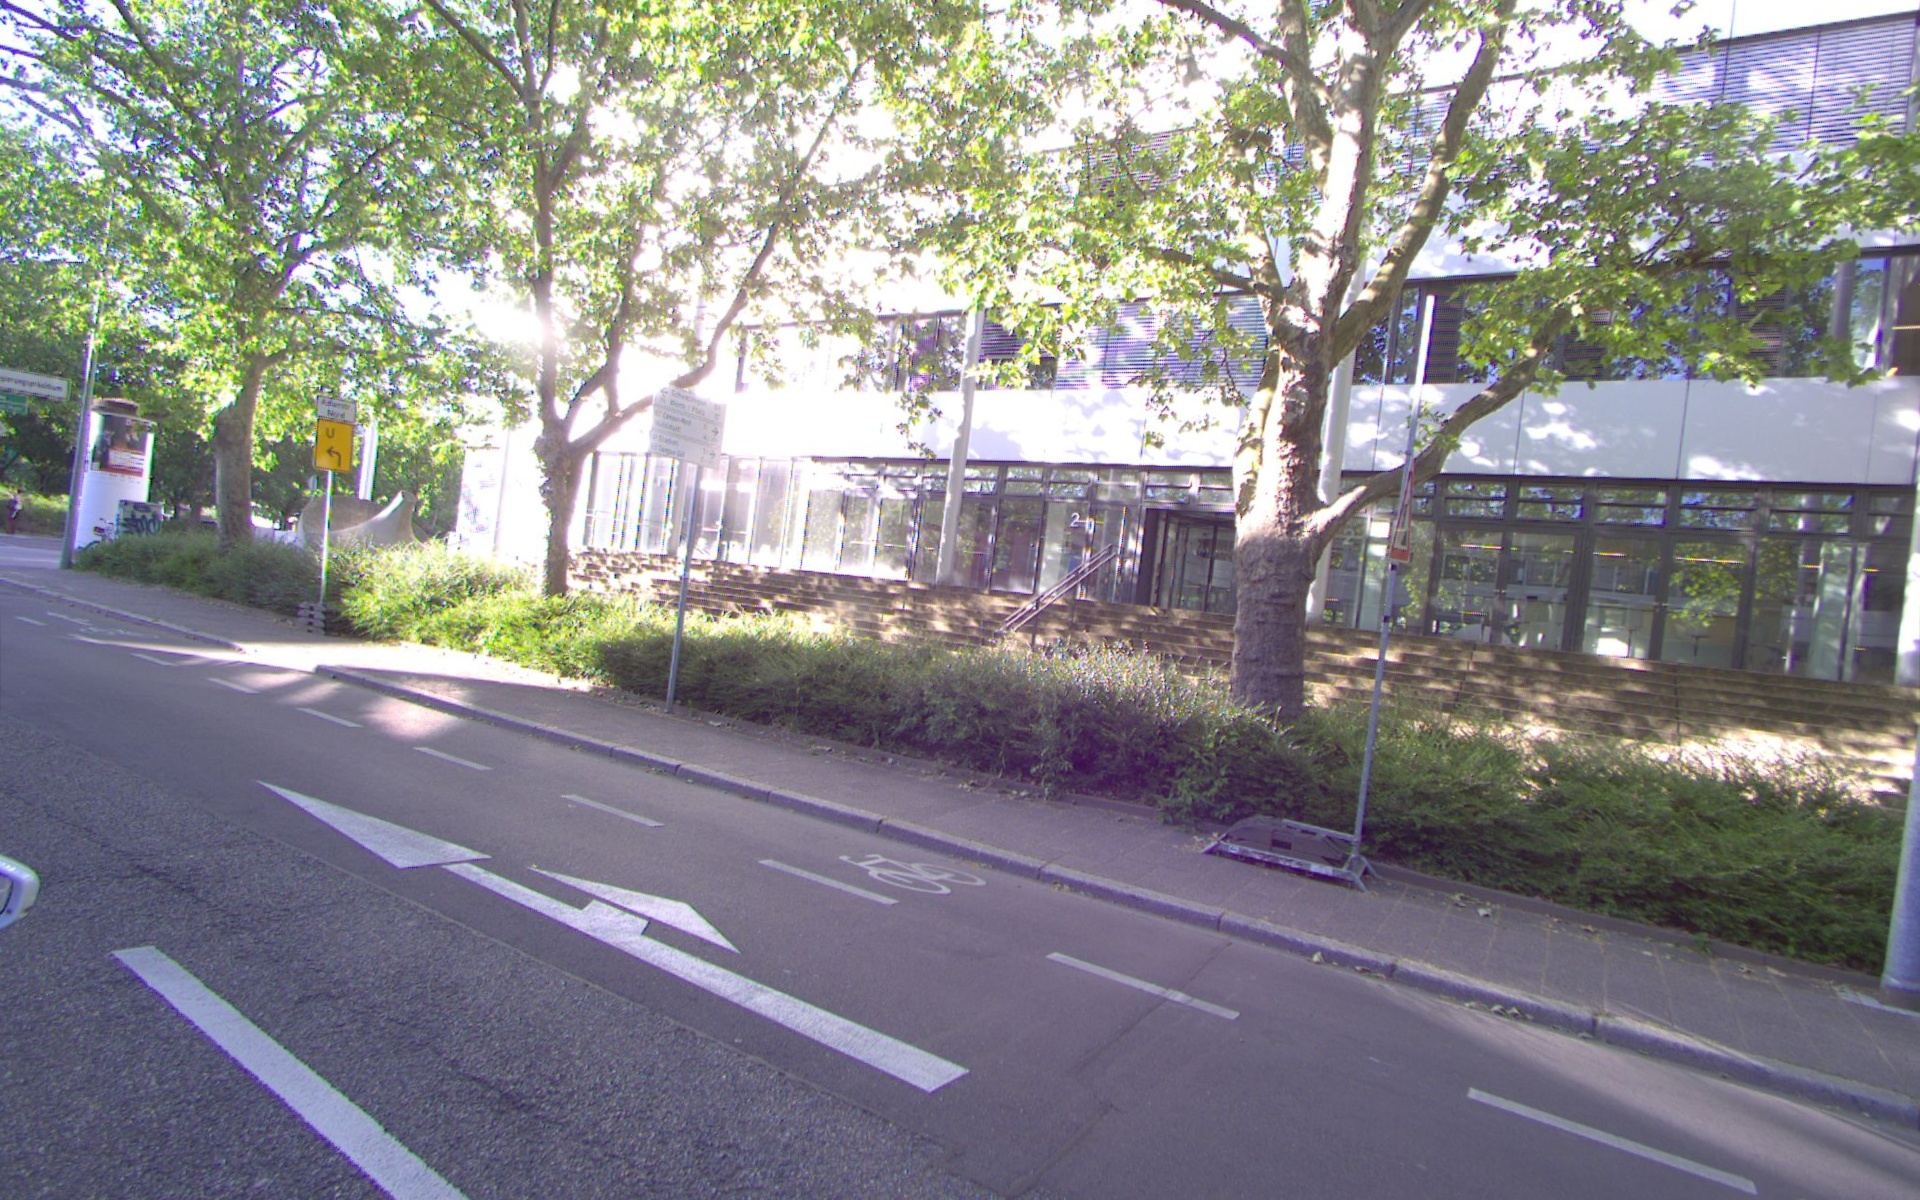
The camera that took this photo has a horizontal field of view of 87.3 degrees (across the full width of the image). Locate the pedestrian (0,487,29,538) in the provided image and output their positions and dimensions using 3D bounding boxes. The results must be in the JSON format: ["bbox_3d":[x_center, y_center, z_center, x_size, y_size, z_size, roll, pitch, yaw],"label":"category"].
[{"bbox_3d":[-36.127,-3.314,38.334,0.672,1.793,0.613,8,-1,-29],"label":"pedestrian"}]

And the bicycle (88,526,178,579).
[{"bbox_3d":[-19.029,-1.076,23.170,0.295,0.991,1.484,6,-2,37],"label":"bicycle"}]
